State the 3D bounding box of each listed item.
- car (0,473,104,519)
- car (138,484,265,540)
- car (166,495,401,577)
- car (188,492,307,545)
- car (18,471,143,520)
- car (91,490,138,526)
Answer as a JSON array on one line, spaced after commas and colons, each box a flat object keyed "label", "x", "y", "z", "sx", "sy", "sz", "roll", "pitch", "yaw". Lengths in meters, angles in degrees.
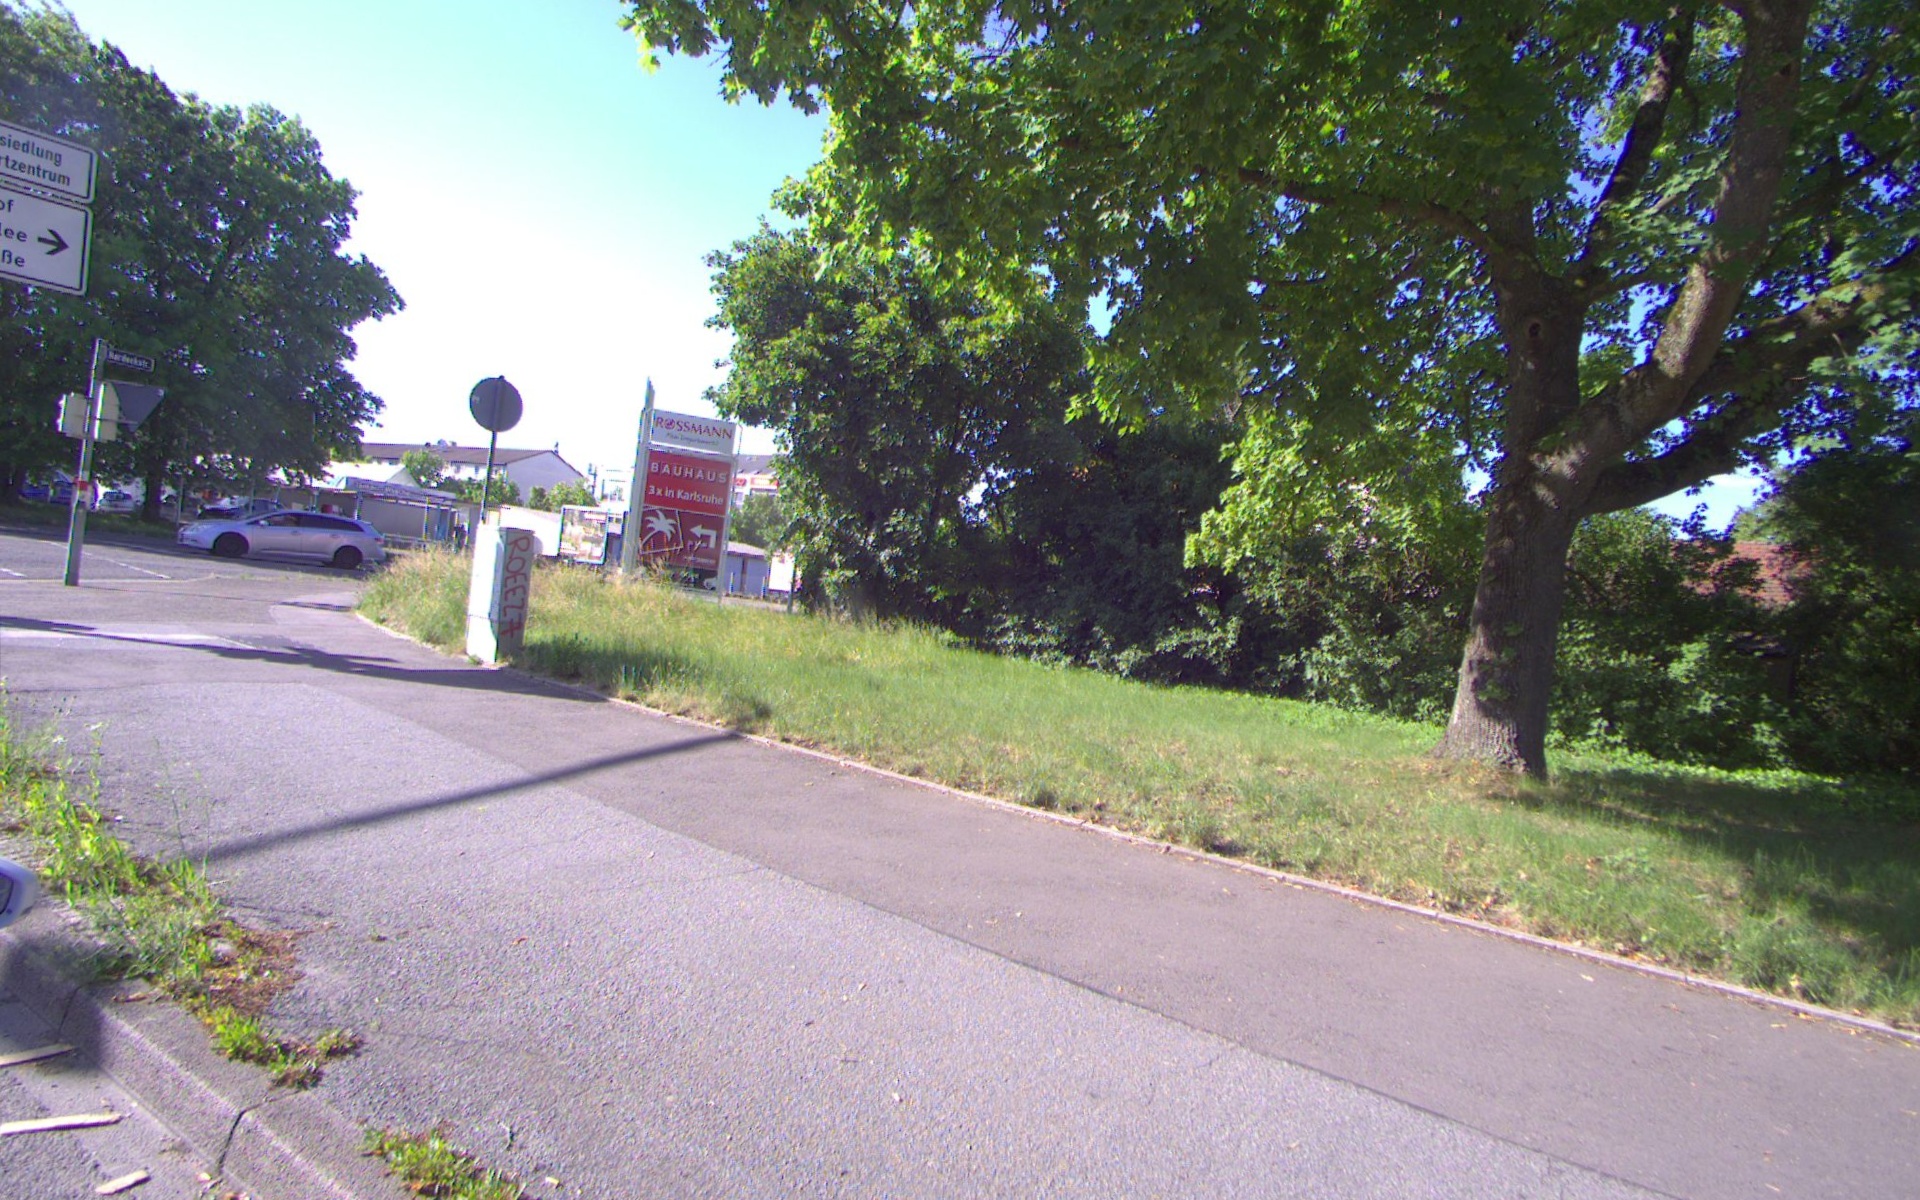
[{"label": "car", "x": -41.989, "y": -4.771, "z": 46.153, "sx": 1.712, "sy": 1.537, "sz": 3.902, "roll": 7, "pitch": 0, "yaw": 9}, {"label": "car", "x": -32.333, "y": -3.726, "z": 43.039, "sx": 1.962, "sy": 1.772, "sz": 4.001, "roll": 7, "pitch": 0, "yaw": 9}, {"label": "car", "x": -18.489, "y": -1.714, "z": 27.696, "sx": 1.973, "sy": 1.504, "sz": 4.994, "roll": 7, "pitch": 0, "yaw": 43}, {"label": "car", "x": -30.295, "y": -3.429, "z": 42.914, "sx": 1.712, "sy": 1.701, "sz": 4.001, "roll": 7, "pitch": 0, "yaw": 9}, {"label": "car", "x": -39.178, "y": -4.629, "z": 44.929, "sx": 1.712, "sy": 1.537, "sz": 3.902, "roll": 7, "pitch": 0, "yaw": 9}, {"label": "car", "x": -47.286, "y": -5.155, "z": 56.262, "sx": 1.734, "sy": 1.701, "sz": 3.951, "roll": 6, "pitch": 1, "yaw": -43}]
